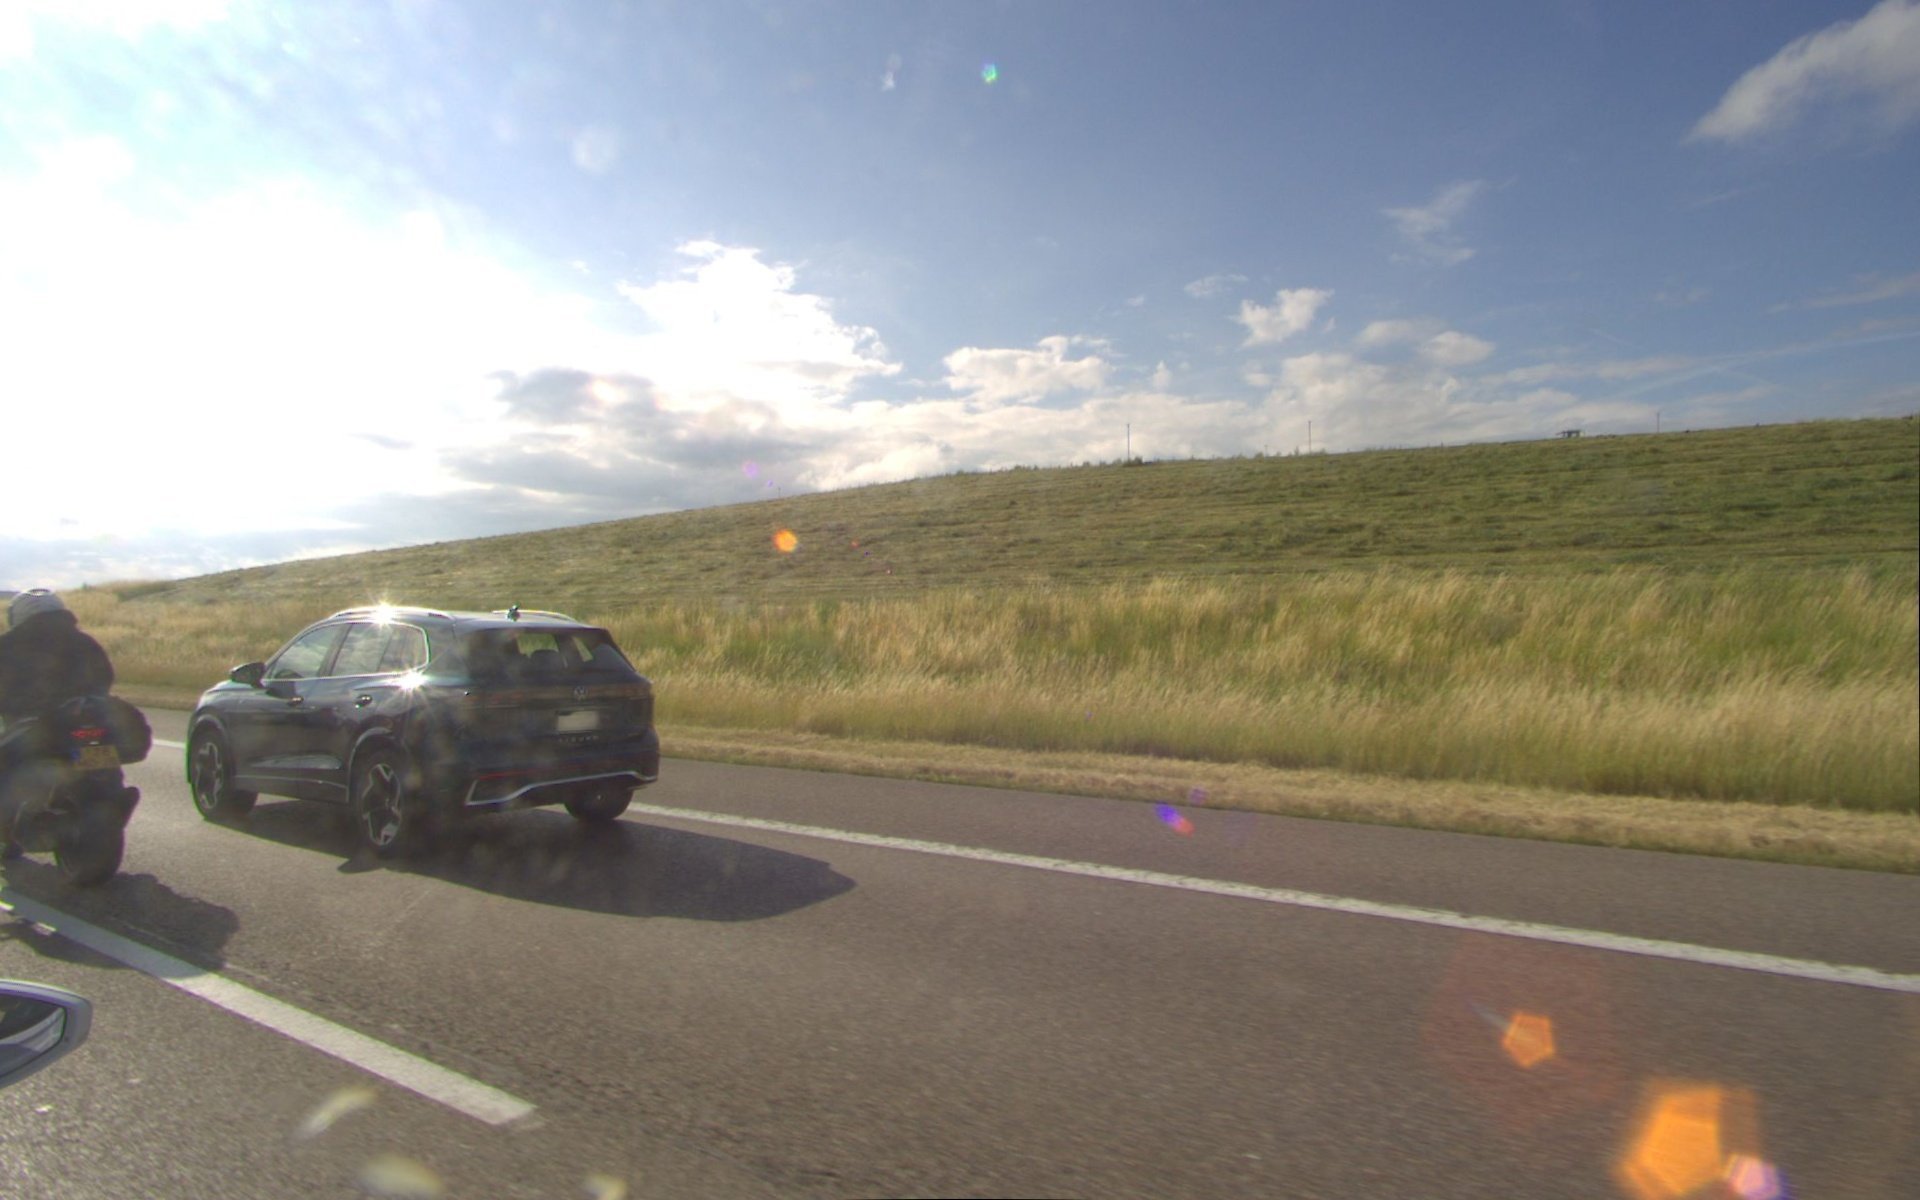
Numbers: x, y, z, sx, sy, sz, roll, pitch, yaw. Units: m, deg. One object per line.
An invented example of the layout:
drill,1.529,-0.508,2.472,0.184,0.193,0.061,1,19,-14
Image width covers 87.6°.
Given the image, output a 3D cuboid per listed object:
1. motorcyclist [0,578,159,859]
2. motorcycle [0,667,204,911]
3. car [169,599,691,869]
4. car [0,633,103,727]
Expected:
motorcyclist,-5.615,0.682,6.140,0.921,1.580,0.848,-1,-1,32
motorcycle,-5.674,1.042,6.173,2.224,1.205,0.894,-1,-1,32
car,-4.277,0.893,7.918,4.175,1.621,1.818,-2,-3,33
car,-16.055,1.295,16.855,3.622,1.438,1.602,-2,-2,34
